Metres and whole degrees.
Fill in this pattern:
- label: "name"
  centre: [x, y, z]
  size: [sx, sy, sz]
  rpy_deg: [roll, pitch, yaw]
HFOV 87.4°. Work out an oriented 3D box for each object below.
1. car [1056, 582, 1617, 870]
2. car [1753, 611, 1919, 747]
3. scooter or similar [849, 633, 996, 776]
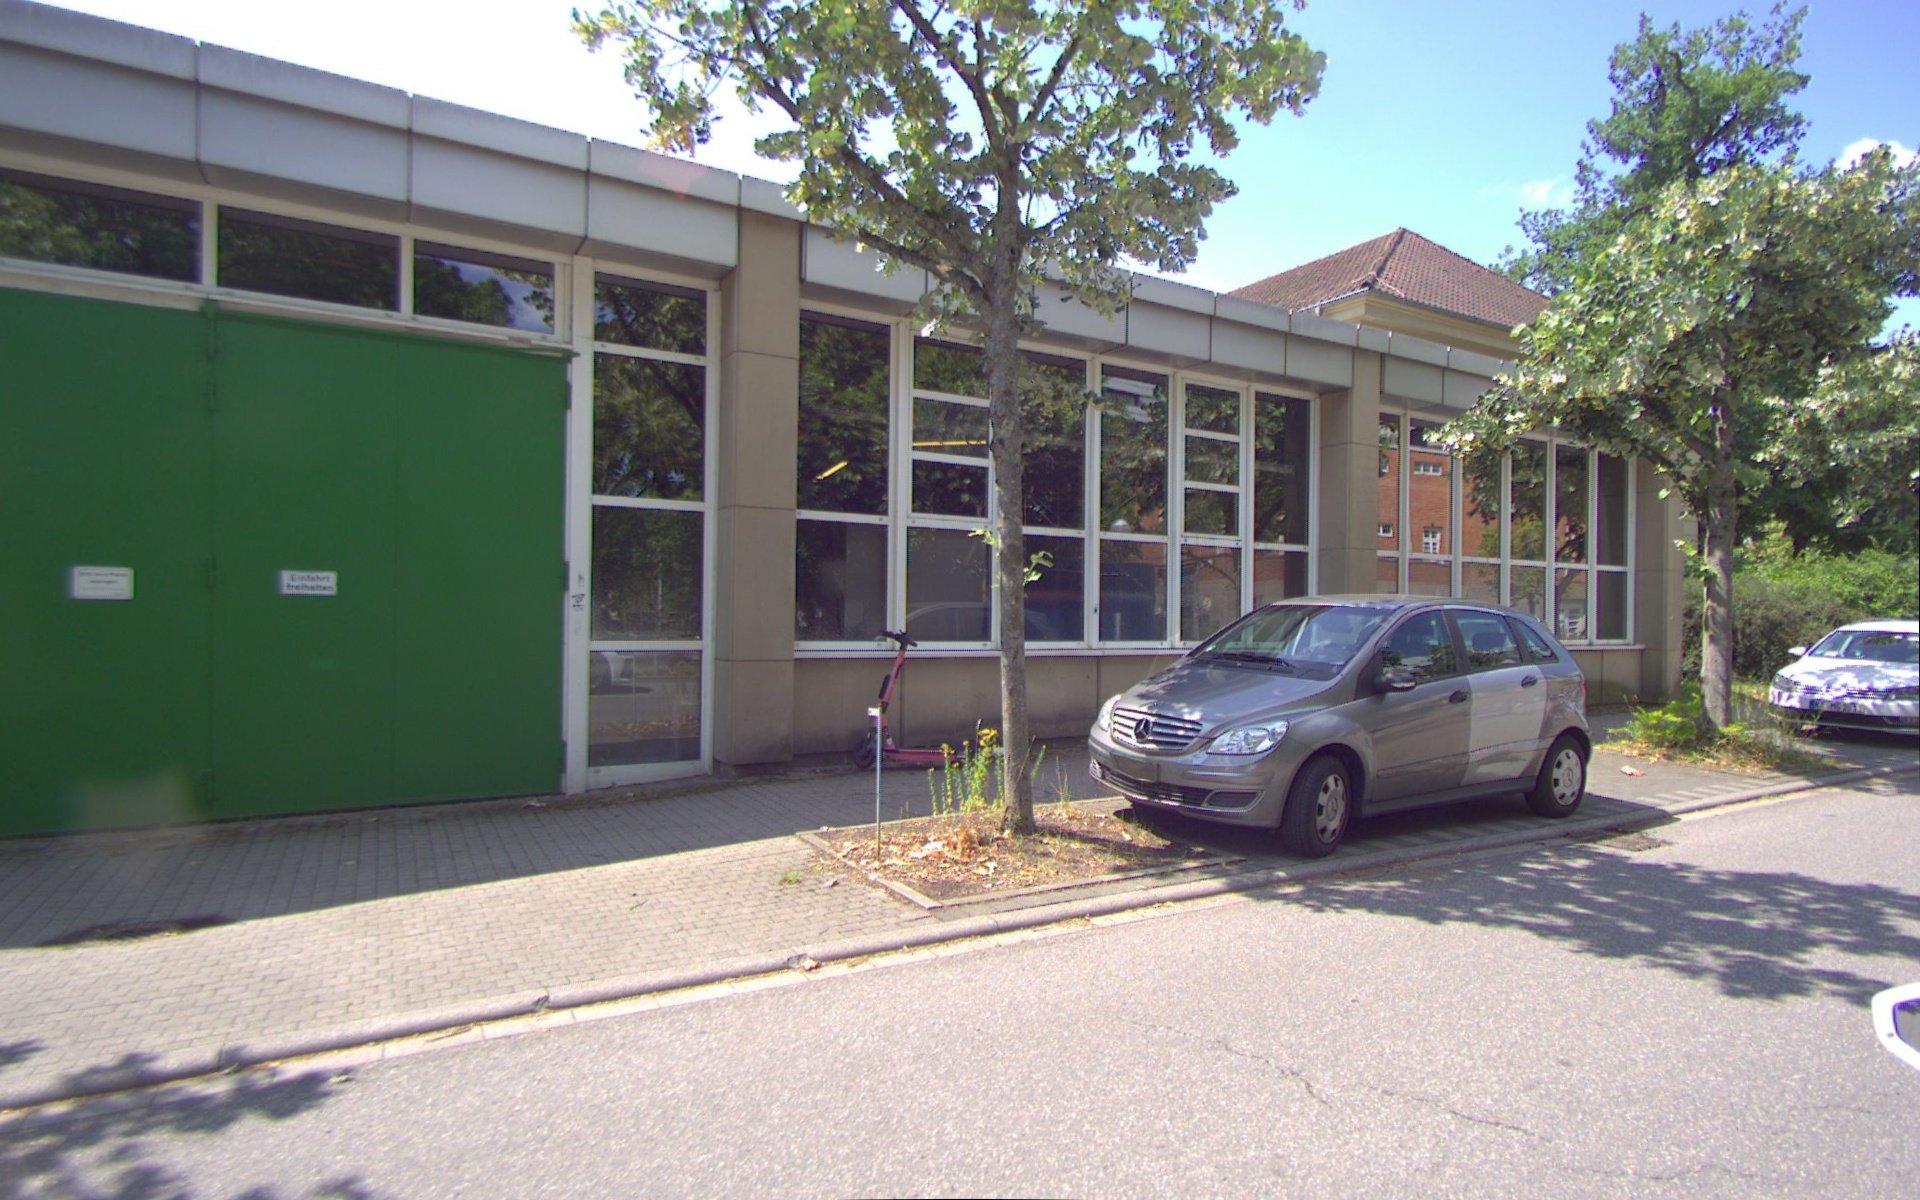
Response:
- label: "car"
  centre: [2.872, 0.726, 7.413]
  size: [4.068, 1.577, 1.747]
  rpy_deg: [1, 1, -32]
- label: "car"
  centre: [12.420, 0.941, 13.192]
  size: [4.533, 1.476, 1.715]
  rpy_deg: [1, 1, -32]
- label: "scooter or similar"
  centre: [-0.329, 0.901, 9.012]
  size: [1.201, 1.185, 0.503]
  rpy_deg: [1, 1, -30]
